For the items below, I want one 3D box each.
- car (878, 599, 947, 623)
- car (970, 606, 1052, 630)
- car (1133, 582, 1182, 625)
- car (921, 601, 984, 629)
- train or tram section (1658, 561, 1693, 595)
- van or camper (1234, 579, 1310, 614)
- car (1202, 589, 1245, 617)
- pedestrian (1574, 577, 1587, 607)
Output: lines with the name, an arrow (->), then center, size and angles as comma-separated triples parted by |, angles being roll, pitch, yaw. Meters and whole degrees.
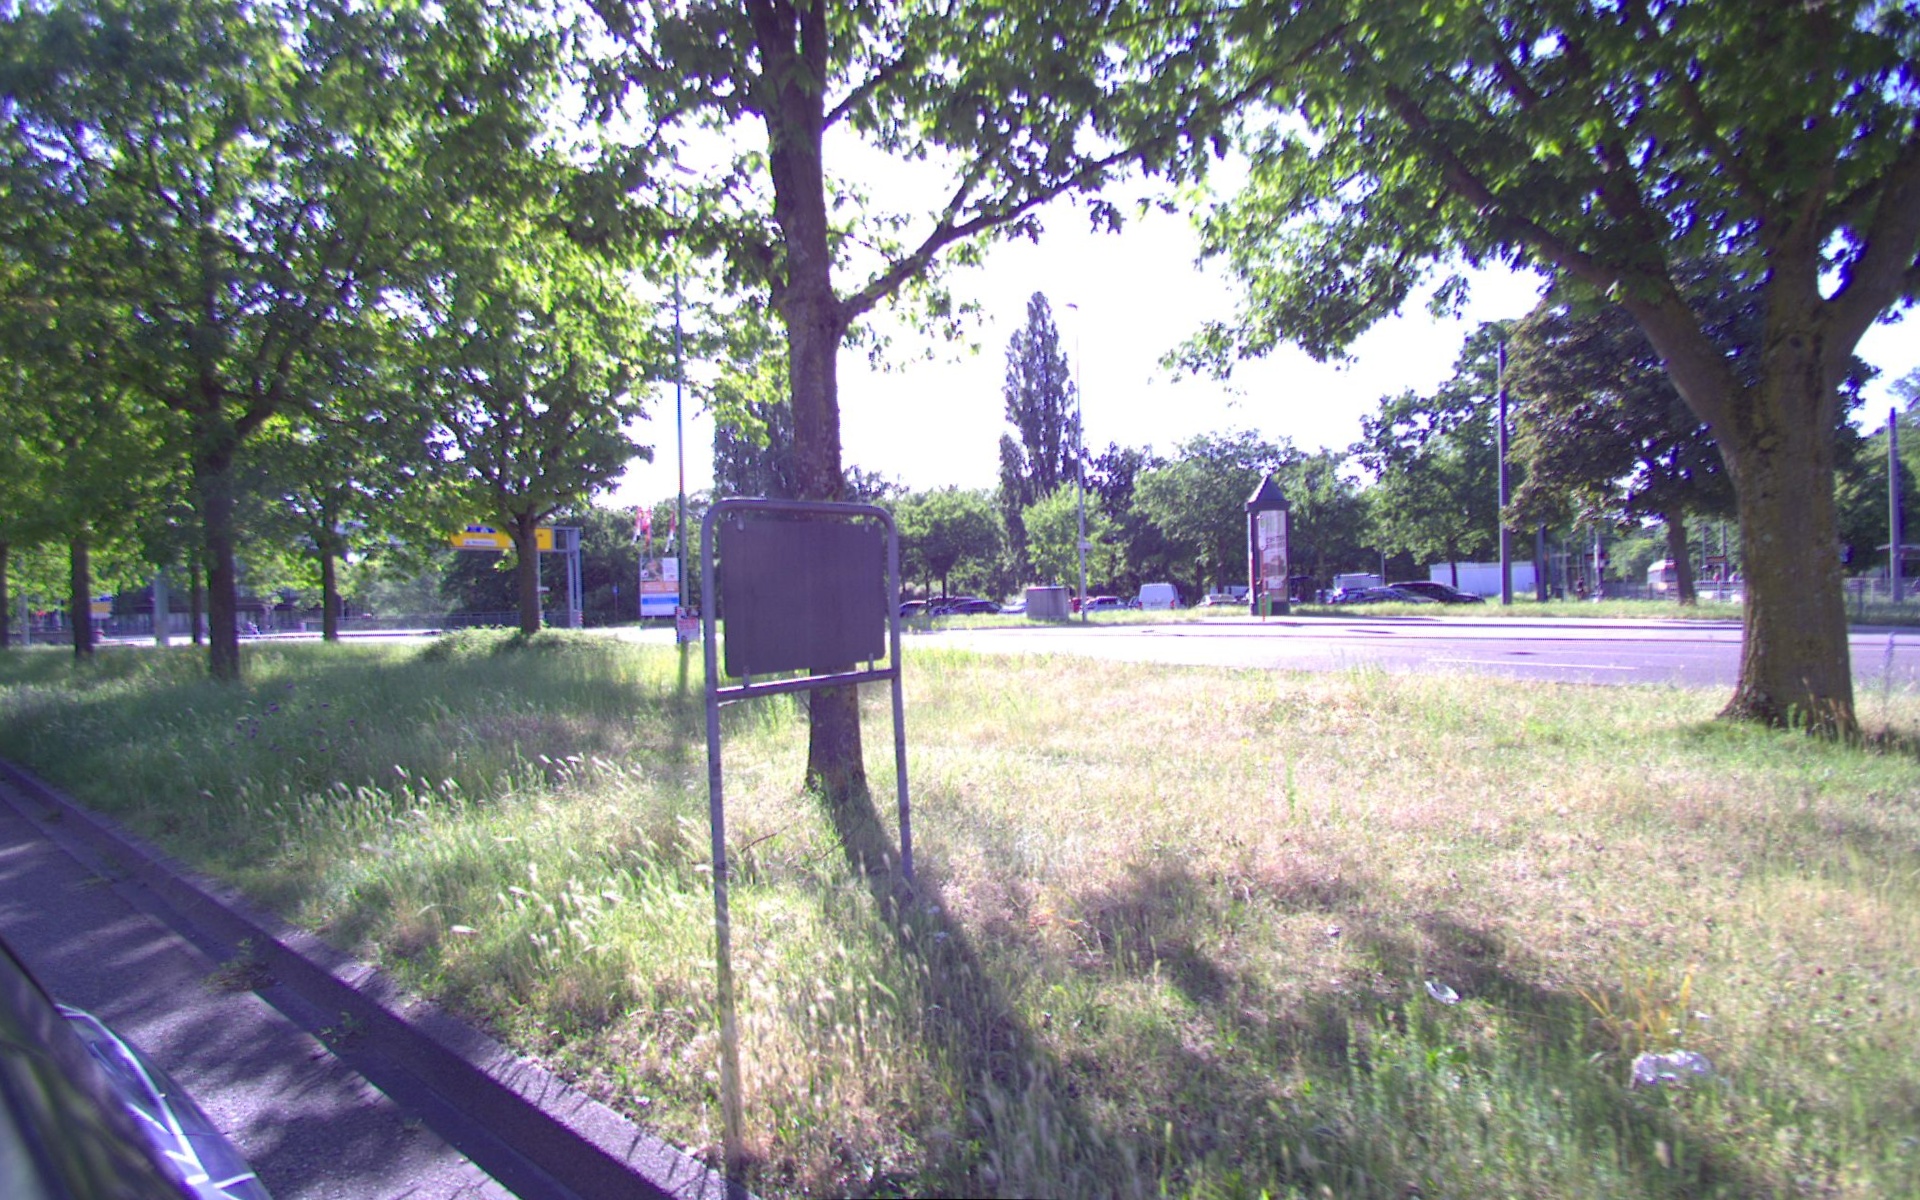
car -> -3.322, 0.758, 71.084 | 4.507, 1.475, 1.994 | -2, 2, 10
car -> 2.723, 0.967, 54.286 | 3.988, 1.137, 1.802 | -2, 0, 33
car -> 10.216, 0.145, 52.075 | 2.218, 2.029, 4.978 | -2, 0, 14
car -> -0.466, 0.868, 57.654 | 1.791, 1.459, 4.012 | -2, 0, -31
train or tram section -> 71.246, -2.221, 100.945 | 2.464, 2.962, 19.613 | -2, 0, 34
van or camper -> 20.133, -0.195, 65.453 | 1.967, 2.112, 4.413 | -2, 0, -34
car -> 13.160, 0.123, 50.762 | 1.980, 1.292, 3.983 | -2, 0, 14
pedestrian -> 38.323, -0.493, 62.476 | 0.582, 1.869, 0.633 | -2, 0, 29
